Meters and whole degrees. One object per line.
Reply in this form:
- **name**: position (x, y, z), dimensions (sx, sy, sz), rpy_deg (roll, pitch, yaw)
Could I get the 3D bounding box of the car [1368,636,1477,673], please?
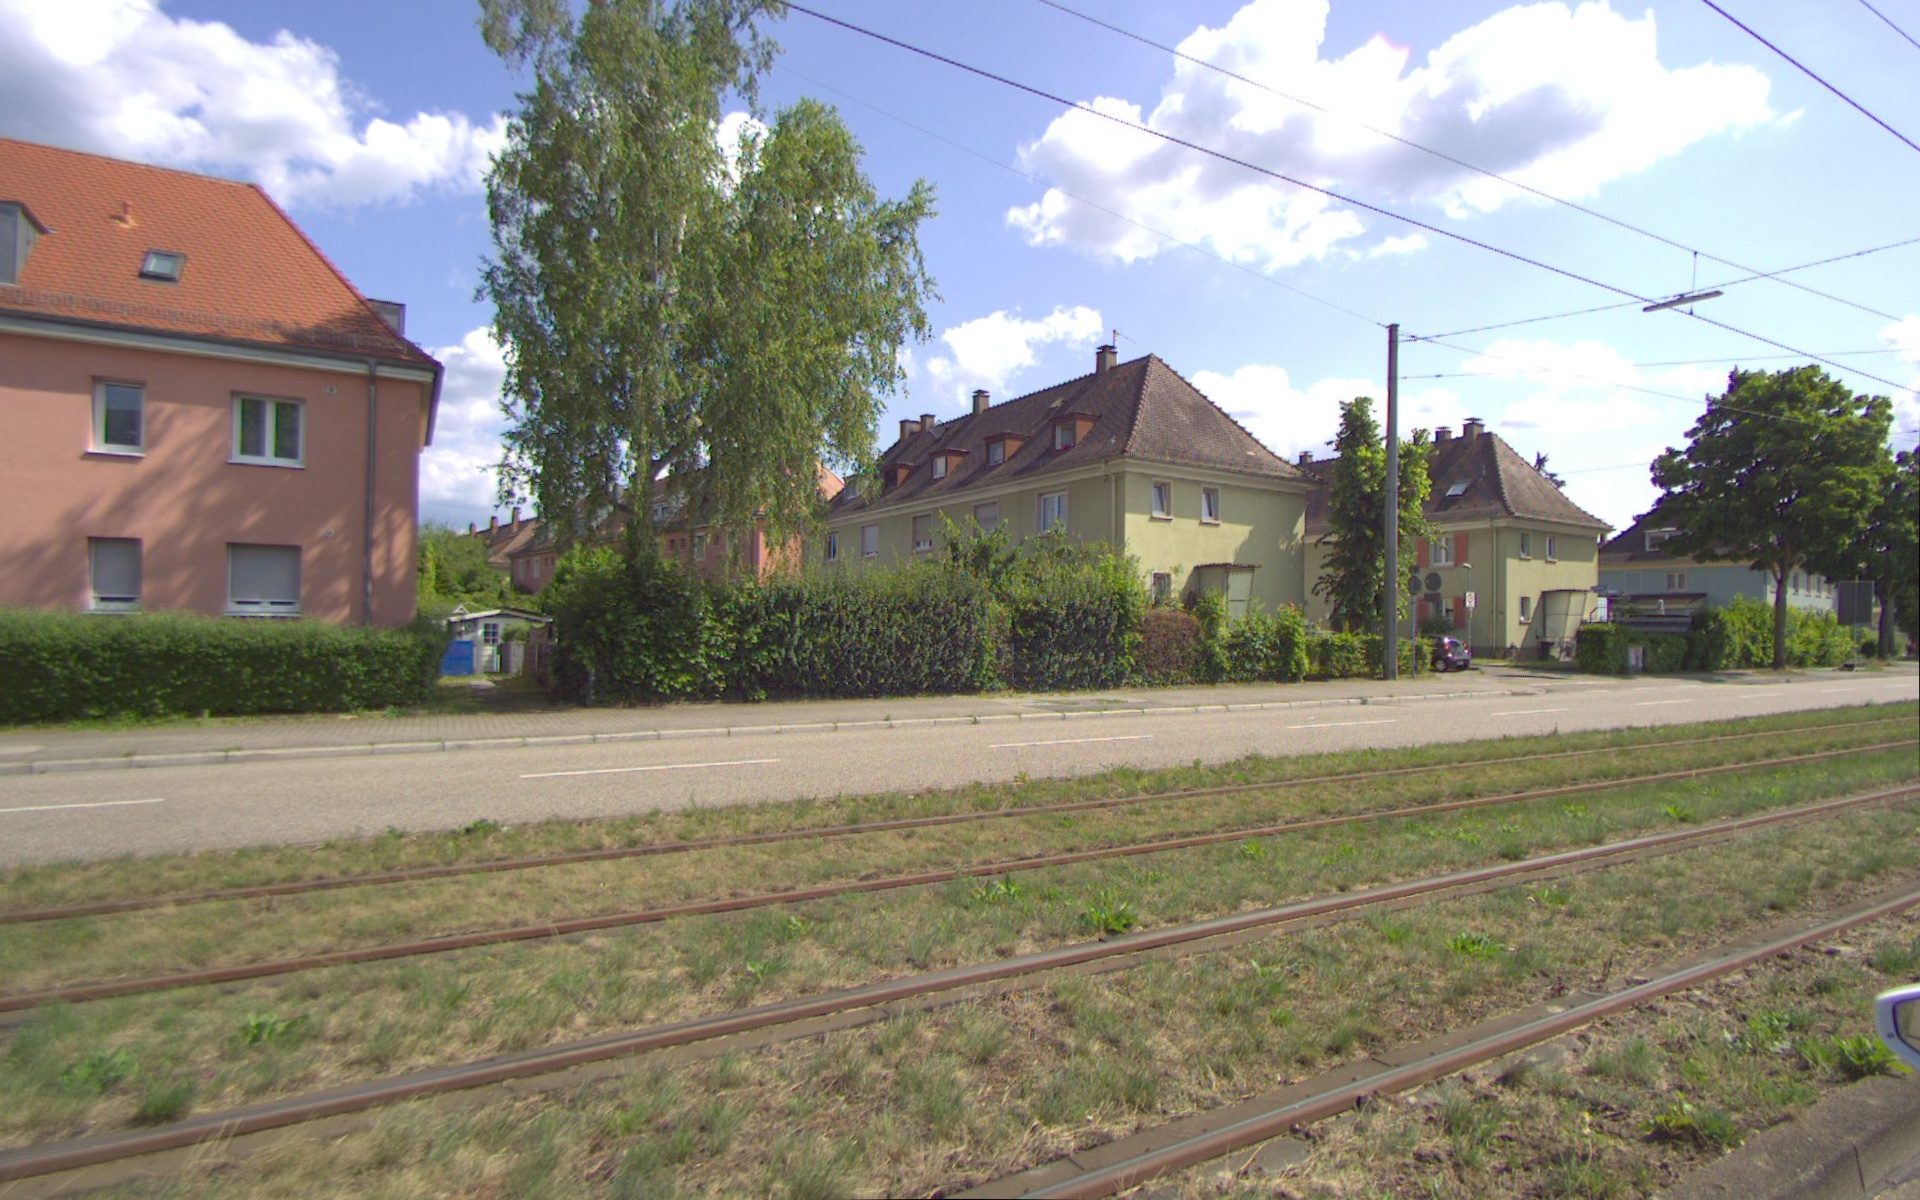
- **car**: position (19.275, 2.242, 41.973), dimensions (1.874, 1.487, 3.719), rpy_deg (1, -2, -33)
